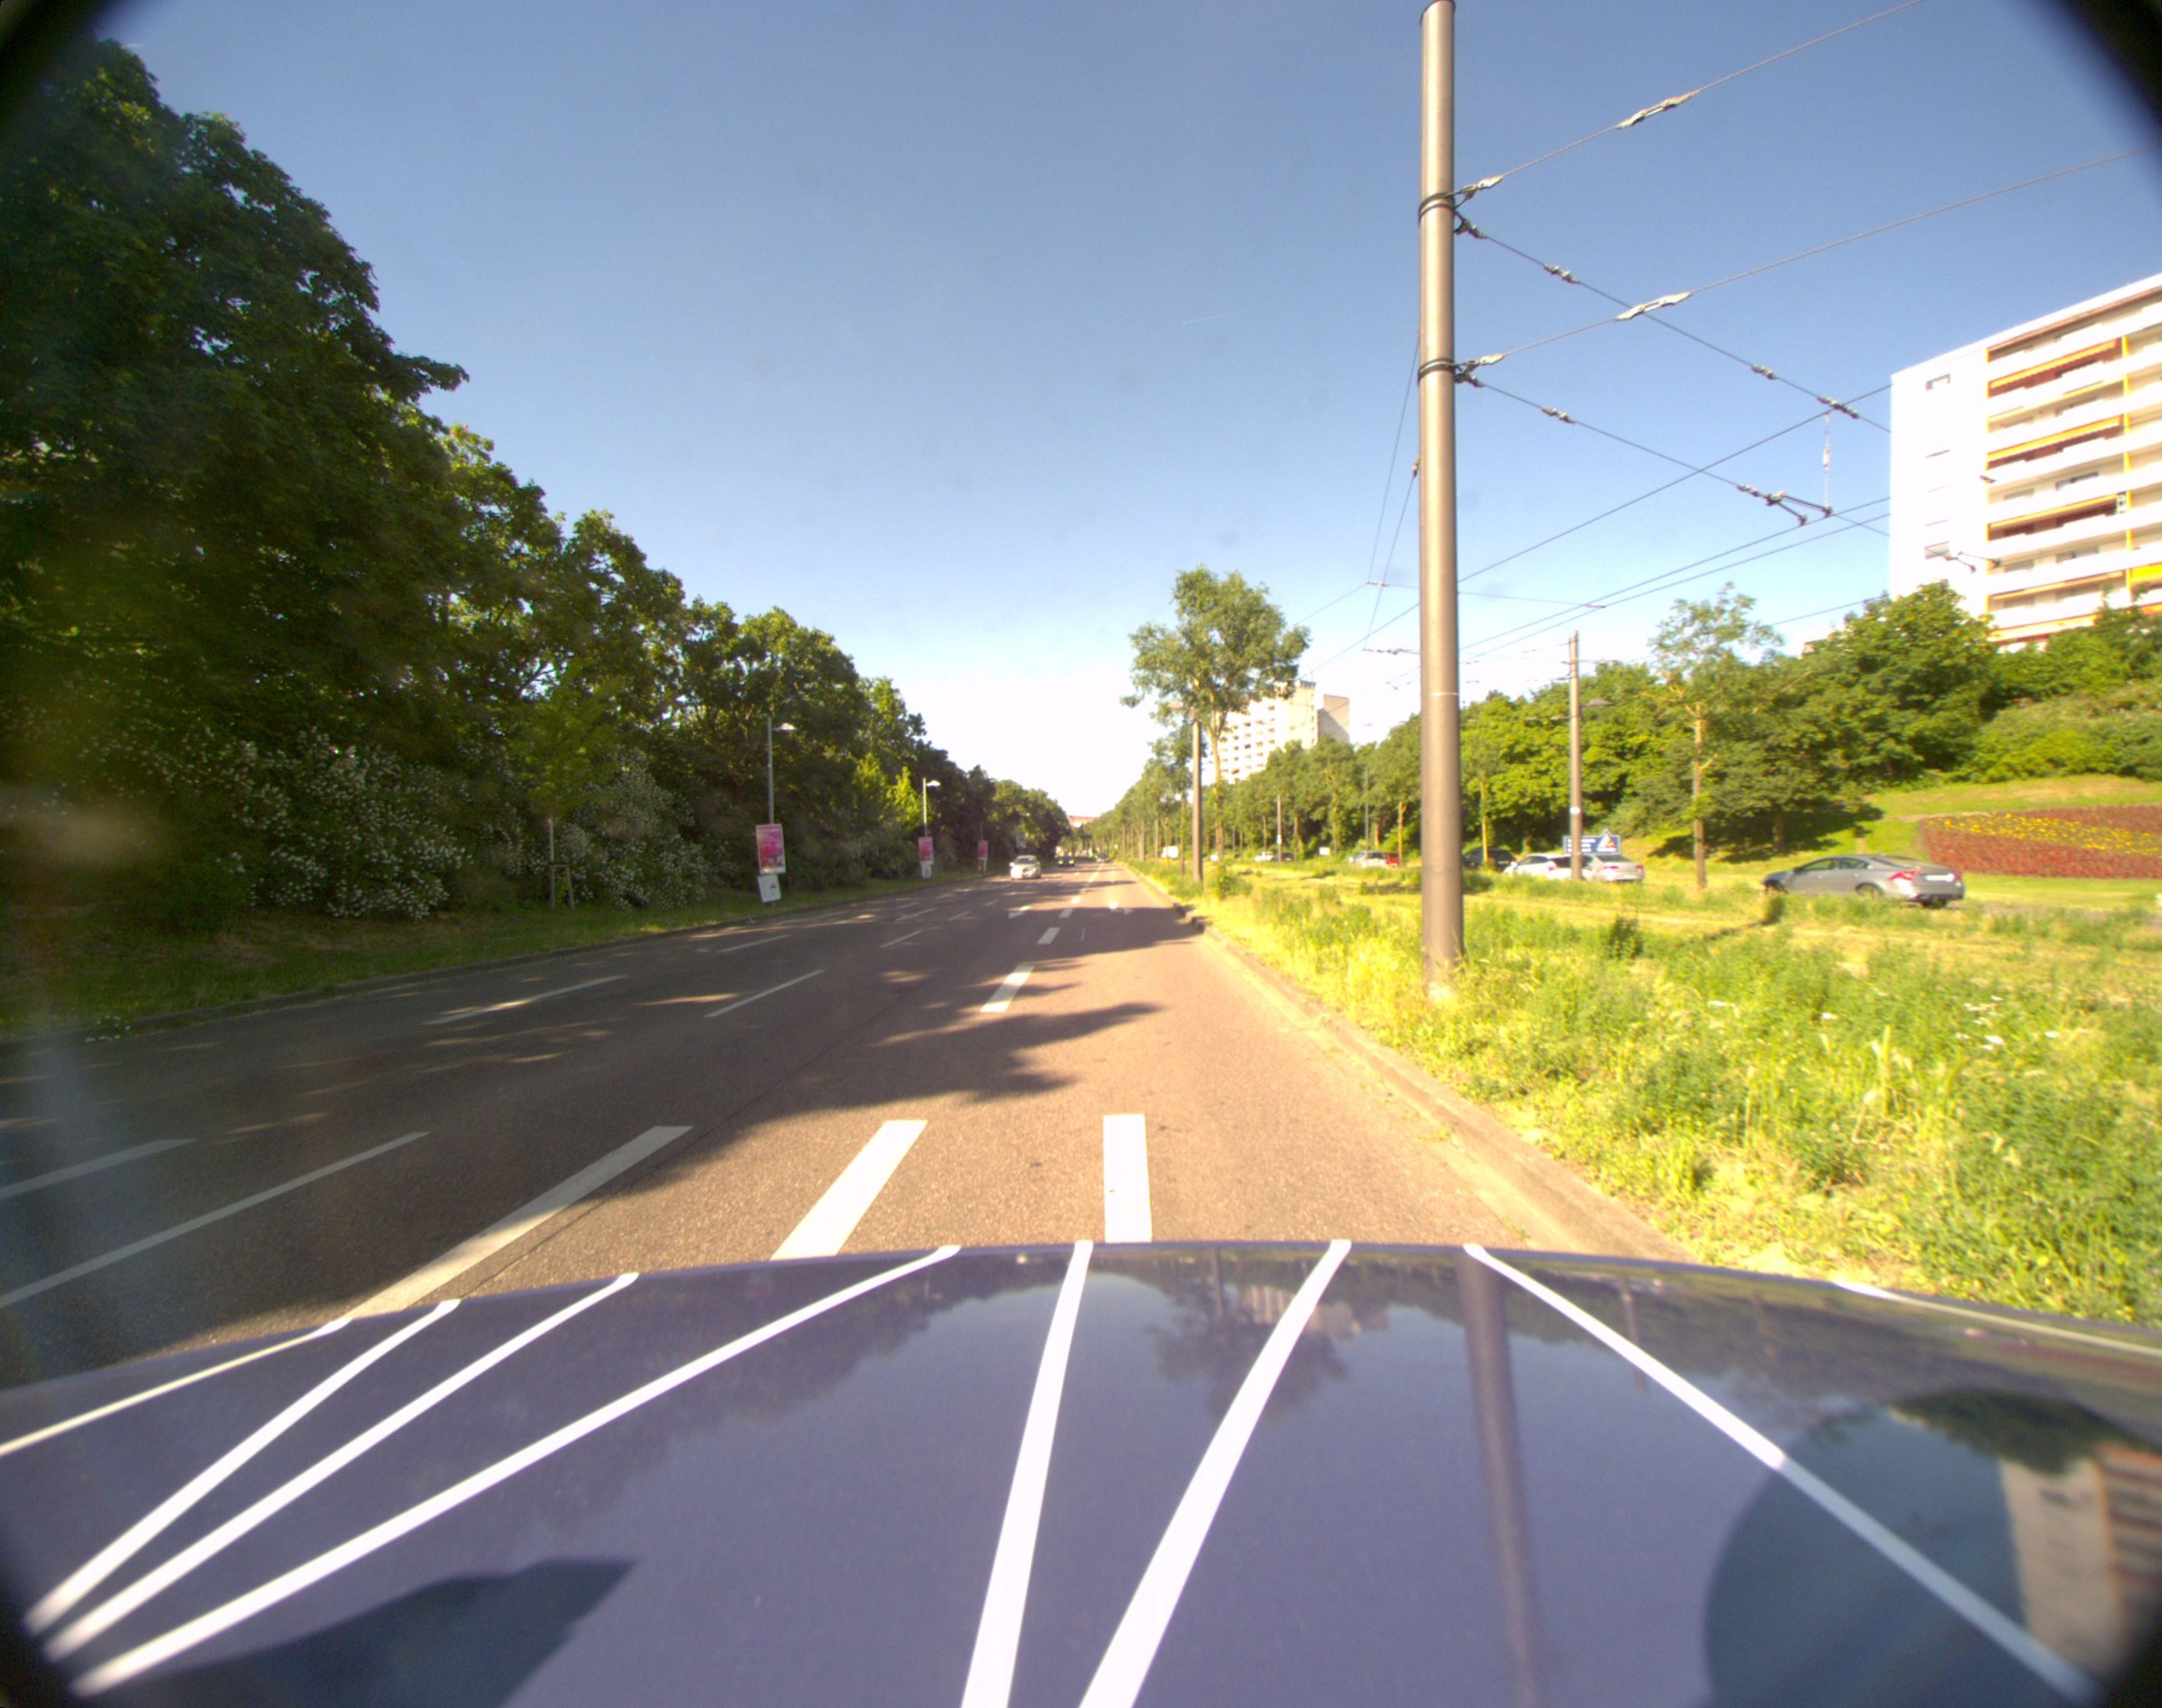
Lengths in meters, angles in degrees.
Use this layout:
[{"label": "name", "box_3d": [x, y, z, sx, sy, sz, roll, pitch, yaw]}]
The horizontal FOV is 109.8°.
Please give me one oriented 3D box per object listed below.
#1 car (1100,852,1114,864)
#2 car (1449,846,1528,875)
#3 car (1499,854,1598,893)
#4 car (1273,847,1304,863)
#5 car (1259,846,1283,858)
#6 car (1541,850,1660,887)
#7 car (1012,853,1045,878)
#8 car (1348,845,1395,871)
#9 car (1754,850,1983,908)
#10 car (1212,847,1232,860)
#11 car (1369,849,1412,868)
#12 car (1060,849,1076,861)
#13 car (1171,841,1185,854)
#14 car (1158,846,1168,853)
[{"label": "car", "box_3d": [3.812, 0.620, 112.904, 1.998, 1.696, 4.000, -2, 1, 1]}, {"label": "car", "box_3d": [22.427, 0.315, 42.012, 1.998, 1.472, 4.631, -2, 1, 2]}, {"label": "car", "box_3d": [18.698, 0.767, 30.621, 1.592, 1.464, 4.184, 1, -1, 3]}, {"label": "car", "box_3d": [20.342, 0.052, 74.652, 1.998, 1.401, 4.991, -2, 1, 4]}, {"label": "car", "box_3d": [23.232, -0.240, 93.146, 1.904, 1.390, 4.543, -2, 1, 2]}, {"label": "car", "box_3d": [22.249, 0.577, 32.805, 1.998, 1.424, 4.693, 0, 1, 2]}, {"label": "car", "box_3d": [-3.590, 0.734, 52.444, 1.672, 1.531, 4.060, -3, 0, 3]}, {"label": "car", "box_3d": [19.232, 0.234, 50.408, 1.767, 1.599, 3.758, 0, 1, 2]}, {"label": "car", "box_3d": [21.784, 0.627, 21.344, 1.998, 1.366, 4.400, -2, 1, 3]}, {"label": "car", "box_3d": [19.401, -0.105, 104.813, 1.899, 1.612, 4.656, -2, 1, 0]}, {"label": "car", "box_3d": [22.841, 0.304, 56.208, 1.661, 1.290, 4.177, -2, 1, 3]}, {"label": "car", "box_3d": [-1.603, 0.116, 96.506, 1.831, 1.400, 4.216, -1, 0, 1]}, {"label": "car", "box_3d": [18.711, -1.319, 146.626, 2.044, 2.355, 6.880, -2, 1, 2]}, {"label": "car", "box_3d": [18.515, -0.984, 172.005, 1.998, 1.575, 5.273, -2, 1, 2]}]
